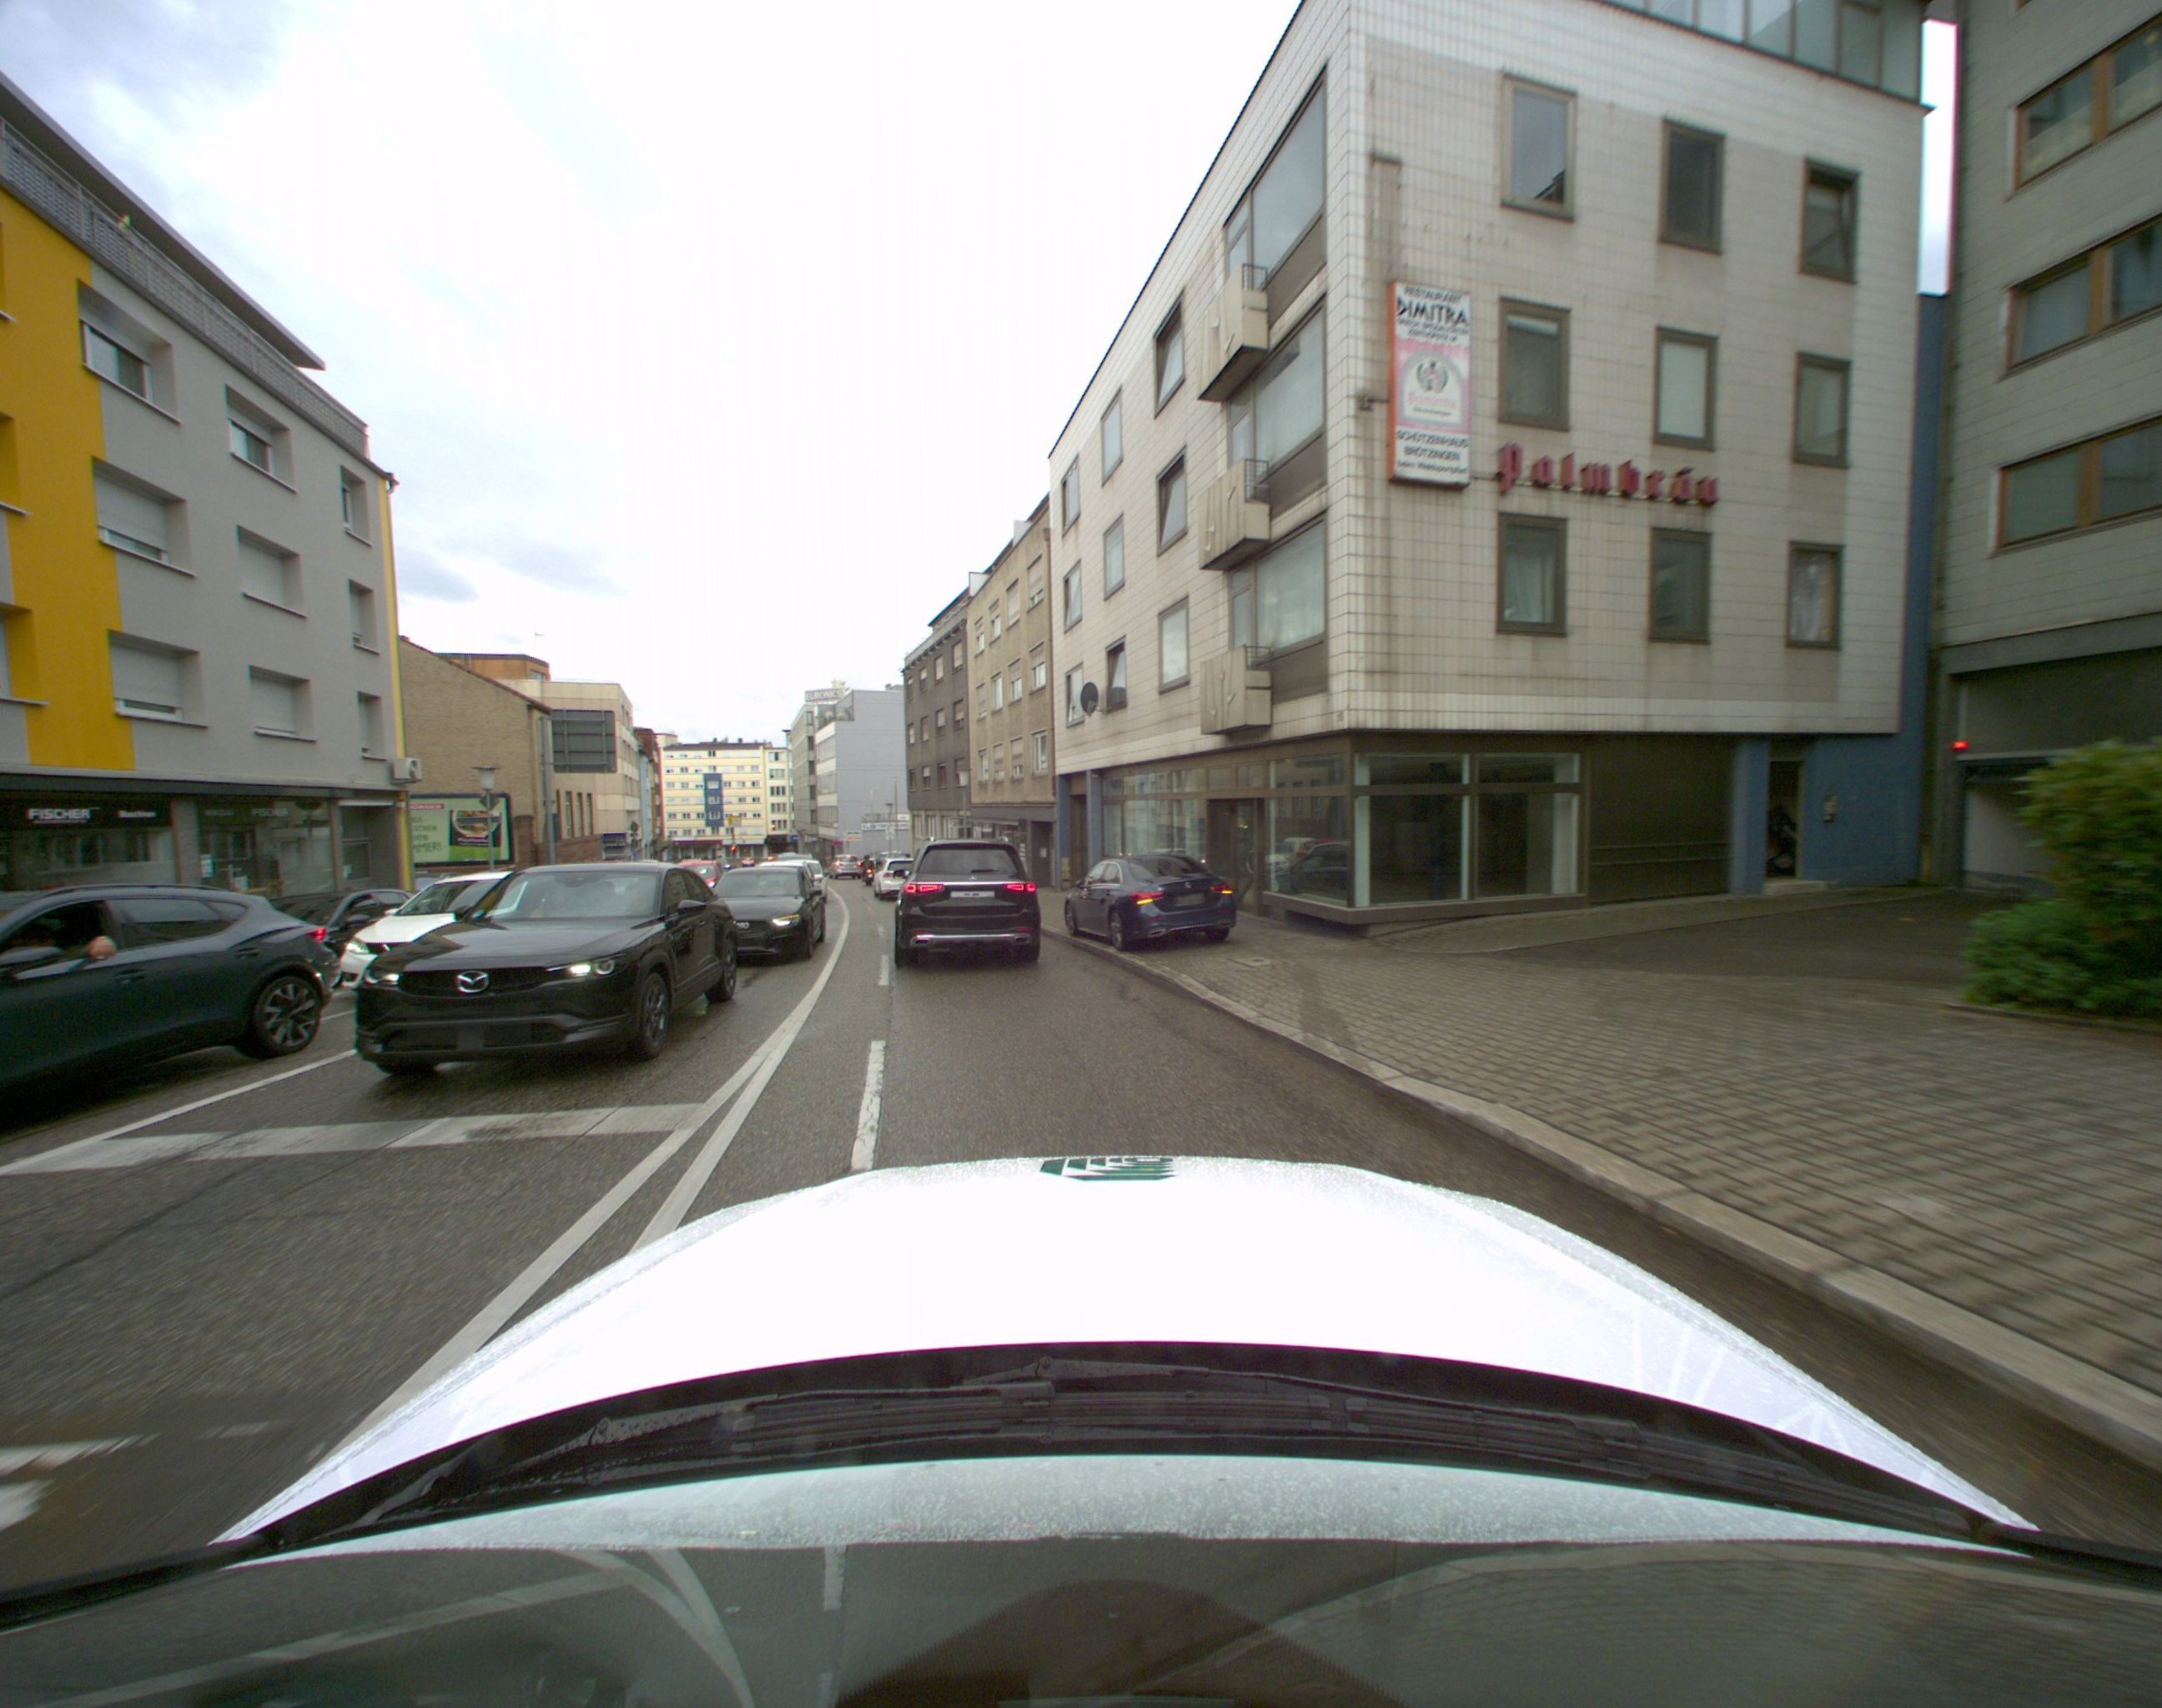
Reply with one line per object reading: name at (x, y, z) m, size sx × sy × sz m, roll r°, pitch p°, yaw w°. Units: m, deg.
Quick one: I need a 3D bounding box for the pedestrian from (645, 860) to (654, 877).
pedestrian at (-43.763, 1.421, 82.595) m, size 0.744 × 1.652 × 0.600 m, roll -2°, pitch 4°, yaw -28°

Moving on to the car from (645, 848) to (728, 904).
car at (-12.381, 0.667, 25.809) m, size 1.745 × 1.515 × 4.105 m, roll -4°, pitch 1°, yaw -18°

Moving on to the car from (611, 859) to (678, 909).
car at (-18.139, 1.197, 34.022) m, size 1.733 × 1.829 × 4.034 m, roll -4°, pitch 0°, yaw -19°

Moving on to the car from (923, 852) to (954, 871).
car at (-11.653, 0.558, 66.369) m, size 1.802 × 1.477 × 4.456 m, roll -1°, pitch 0°, yaw -19°

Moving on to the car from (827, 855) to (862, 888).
car at (-15.429, 1.088, 53.088) m, size 1.761 × 1.779 × 3.549 m, roll -1°, pitch 5°, yaw -23°

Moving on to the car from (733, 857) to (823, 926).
car at (-7.708, 0.878, 21.098) m, size 1.811 × 1.521 × 4.536 m, roll -2°, pitch 0°, yaw -16°

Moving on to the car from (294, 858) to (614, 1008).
car at (-8.620, 0.932, 11.787) m, size 1.807 × 1.542 × 4.363 m, roll -2°, pitch 2°, yaw -11°

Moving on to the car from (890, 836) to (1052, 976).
car at (-1.938, 0.655, 12.849) m, size 2.023 × 1.739 × 4.725 m, roll -1°, pitch 0°, yaw -14°

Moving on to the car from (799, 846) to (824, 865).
car at (-23.198, 0.093, 70.029) m, size 1.530 × 1.548 × 3.080 m, roll -1°, pitch 1°, yaw -27°

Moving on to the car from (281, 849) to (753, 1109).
car at (-4.406, 0.801, 7.330) m, size 1.820 × 1.537 × 4.362 m, roll -2°, pitch -1°, yaw -11°

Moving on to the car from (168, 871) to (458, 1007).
car at (-11.810, 1.177, 12.916) m, size 1.738 × 1.595 × 3.758 m, roll -2°, pitch 2°, yaw -16°

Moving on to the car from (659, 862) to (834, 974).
car at (-5.150, 0.872, 13.152) m, size 1.808 × 1.415 × 4.360 m, roll -2°, pitch 0°, yaw -12°

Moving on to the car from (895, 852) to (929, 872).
car at (-13.596, 0.627, 65.246) m, size 1.804 × 1.477 × 4.451 m, roll -1°, pitch 0°, yaw -23°

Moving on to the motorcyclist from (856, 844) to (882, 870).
motorcyclist at (-10.684, 0.115, 40.977) m, size 0.871 × 1.057 × 2.917 m, roll -1°, pitch 5°, yaw -23°

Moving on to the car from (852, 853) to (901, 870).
car at (-18.357, 0.680, 73.201) m, size 4.022 × 1.494 × 1.712 m, roll 0°, pitch -2°, yaw -44°

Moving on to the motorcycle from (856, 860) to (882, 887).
motorcycle at (-10.670, 0.955, 40.940) m, size 0.871 × 1.057 × 2.917 m, roll -1°, pitch 5°, yaw -23°

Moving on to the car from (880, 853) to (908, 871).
car at (-16.116, 0.642, 70.096) m, size 1.573 × 1.477 × 4.037 m, roll -1°, pitch 0°, yaw -25°

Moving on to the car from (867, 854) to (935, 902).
car at (-6.602, 0.837, 29.531) m, size 1.836 × 1.461 × 4.351 m, roll -4°, pitch 1°, yaw -19°

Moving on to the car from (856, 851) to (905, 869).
car at (-18.723, 0.551, 76.107) m, size 4.022 × 1.597 × 1.777 m, roll 0°, pitch -2°, yaw -44°

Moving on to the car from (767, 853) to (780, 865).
car at (-42.404, 0.651, 112.297) m, size 1.529 × 1.548 × 3.084 m, roll -1°, pitch 1°, yaw -23°

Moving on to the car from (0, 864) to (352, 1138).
car at (-7.306, 0.917, 5.247) m, size 1.820 × 1.477 × 4.363 m, roll -2°, pitch 2°, yaw -11°

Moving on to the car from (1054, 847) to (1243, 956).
car at (0.915, 0.680, 13.693) m, size 1.767 × 1.392 × 4.357 m, roll -4°, pitch 1°, yaw -15°

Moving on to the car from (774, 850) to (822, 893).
car at (-12.046, 0.731, 34.736) m, size 1.812 × 1.705 × 4.532 m, roll 0°, pitch -1°, yaw -19°

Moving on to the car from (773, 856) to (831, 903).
car at (-9.546, 0.840, 28.115) m, size 1.702 × 1.480 × 4.266 m, roll 0°, pitch -1°, yaw -16°
